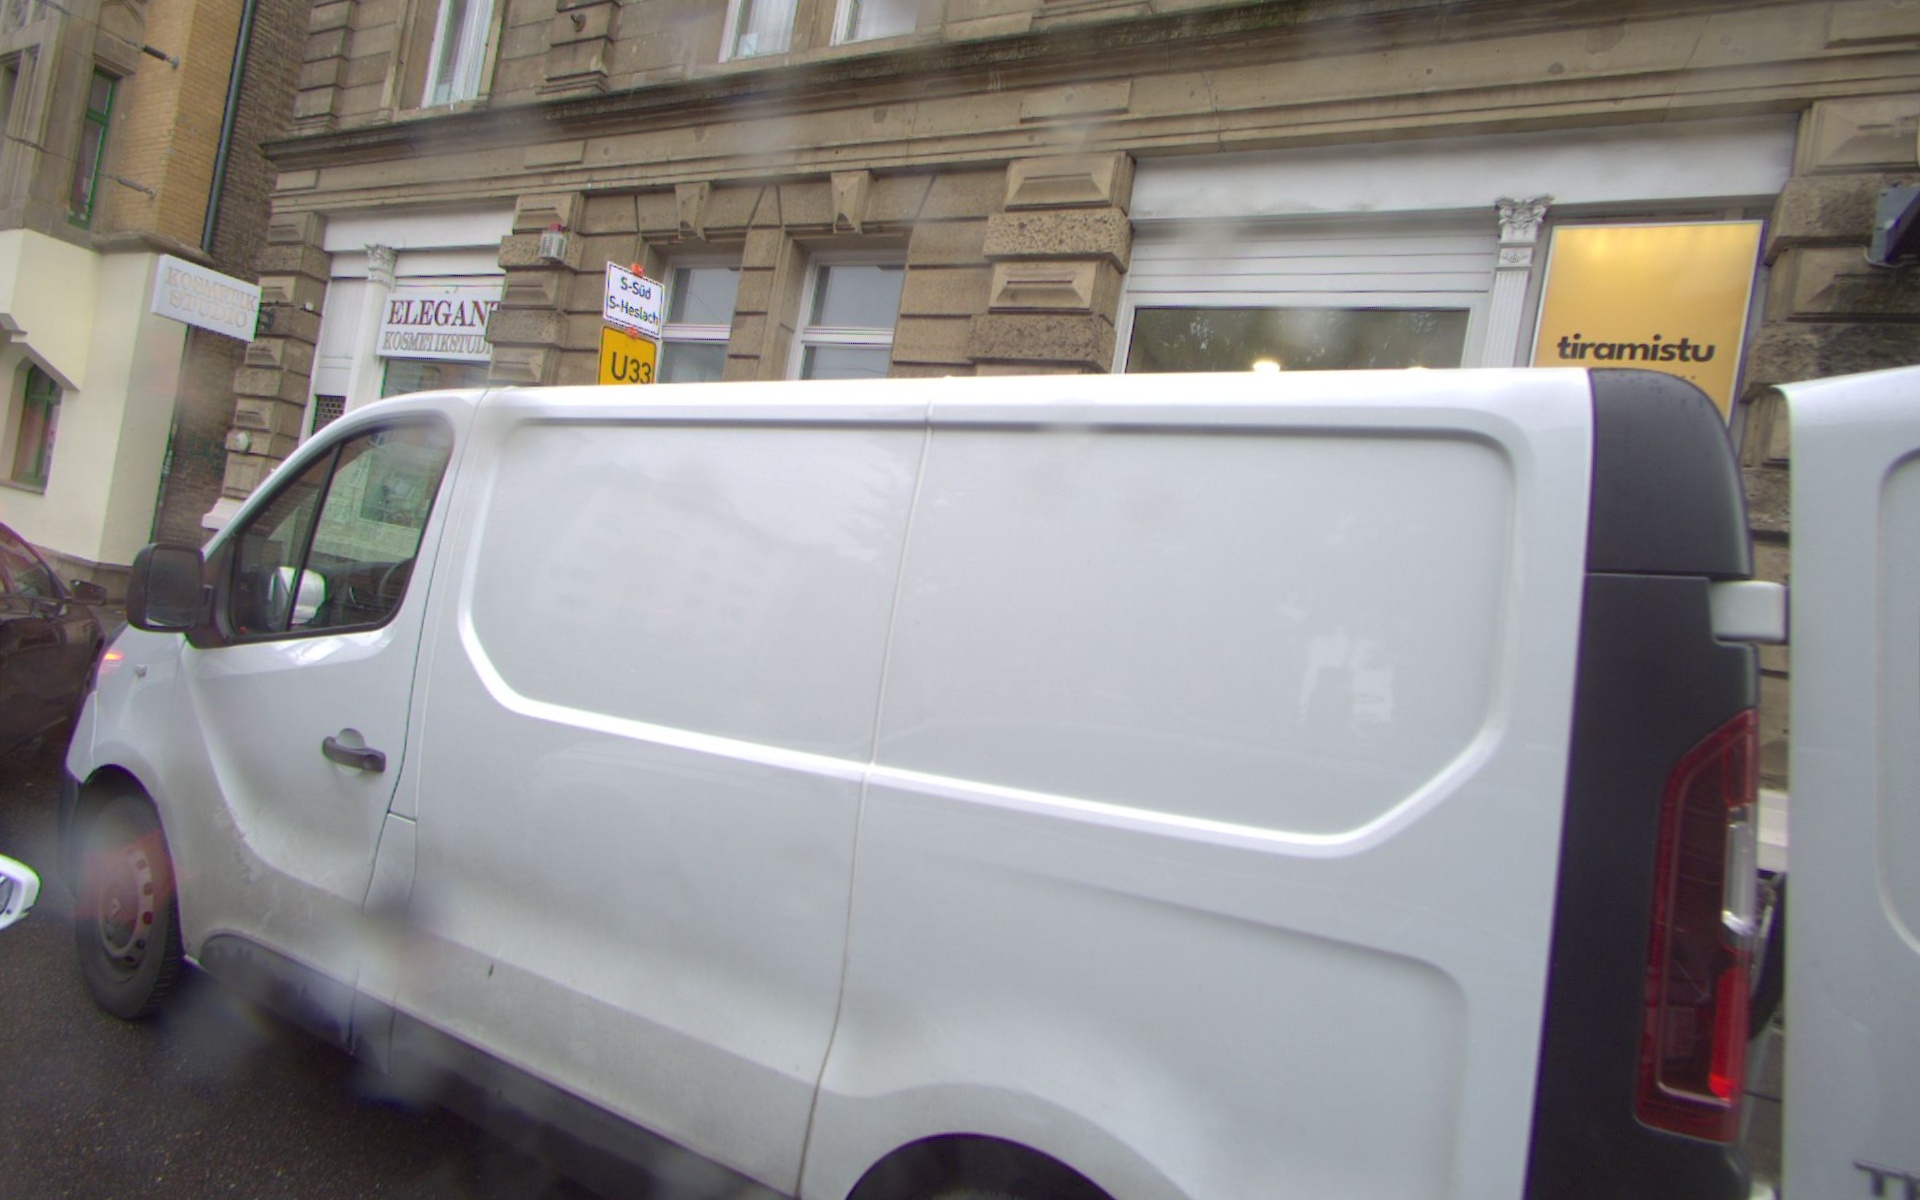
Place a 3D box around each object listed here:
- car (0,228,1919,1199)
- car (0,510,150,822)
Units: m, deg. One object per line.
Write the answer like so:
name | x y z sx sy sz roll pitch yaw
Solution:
car | -0.555 0.469 2.950 4.606 1.958 1.926 7 -2 30
car | -5.618 0.152 4.964 1.883 1.406 3.968 9 -2 -32
